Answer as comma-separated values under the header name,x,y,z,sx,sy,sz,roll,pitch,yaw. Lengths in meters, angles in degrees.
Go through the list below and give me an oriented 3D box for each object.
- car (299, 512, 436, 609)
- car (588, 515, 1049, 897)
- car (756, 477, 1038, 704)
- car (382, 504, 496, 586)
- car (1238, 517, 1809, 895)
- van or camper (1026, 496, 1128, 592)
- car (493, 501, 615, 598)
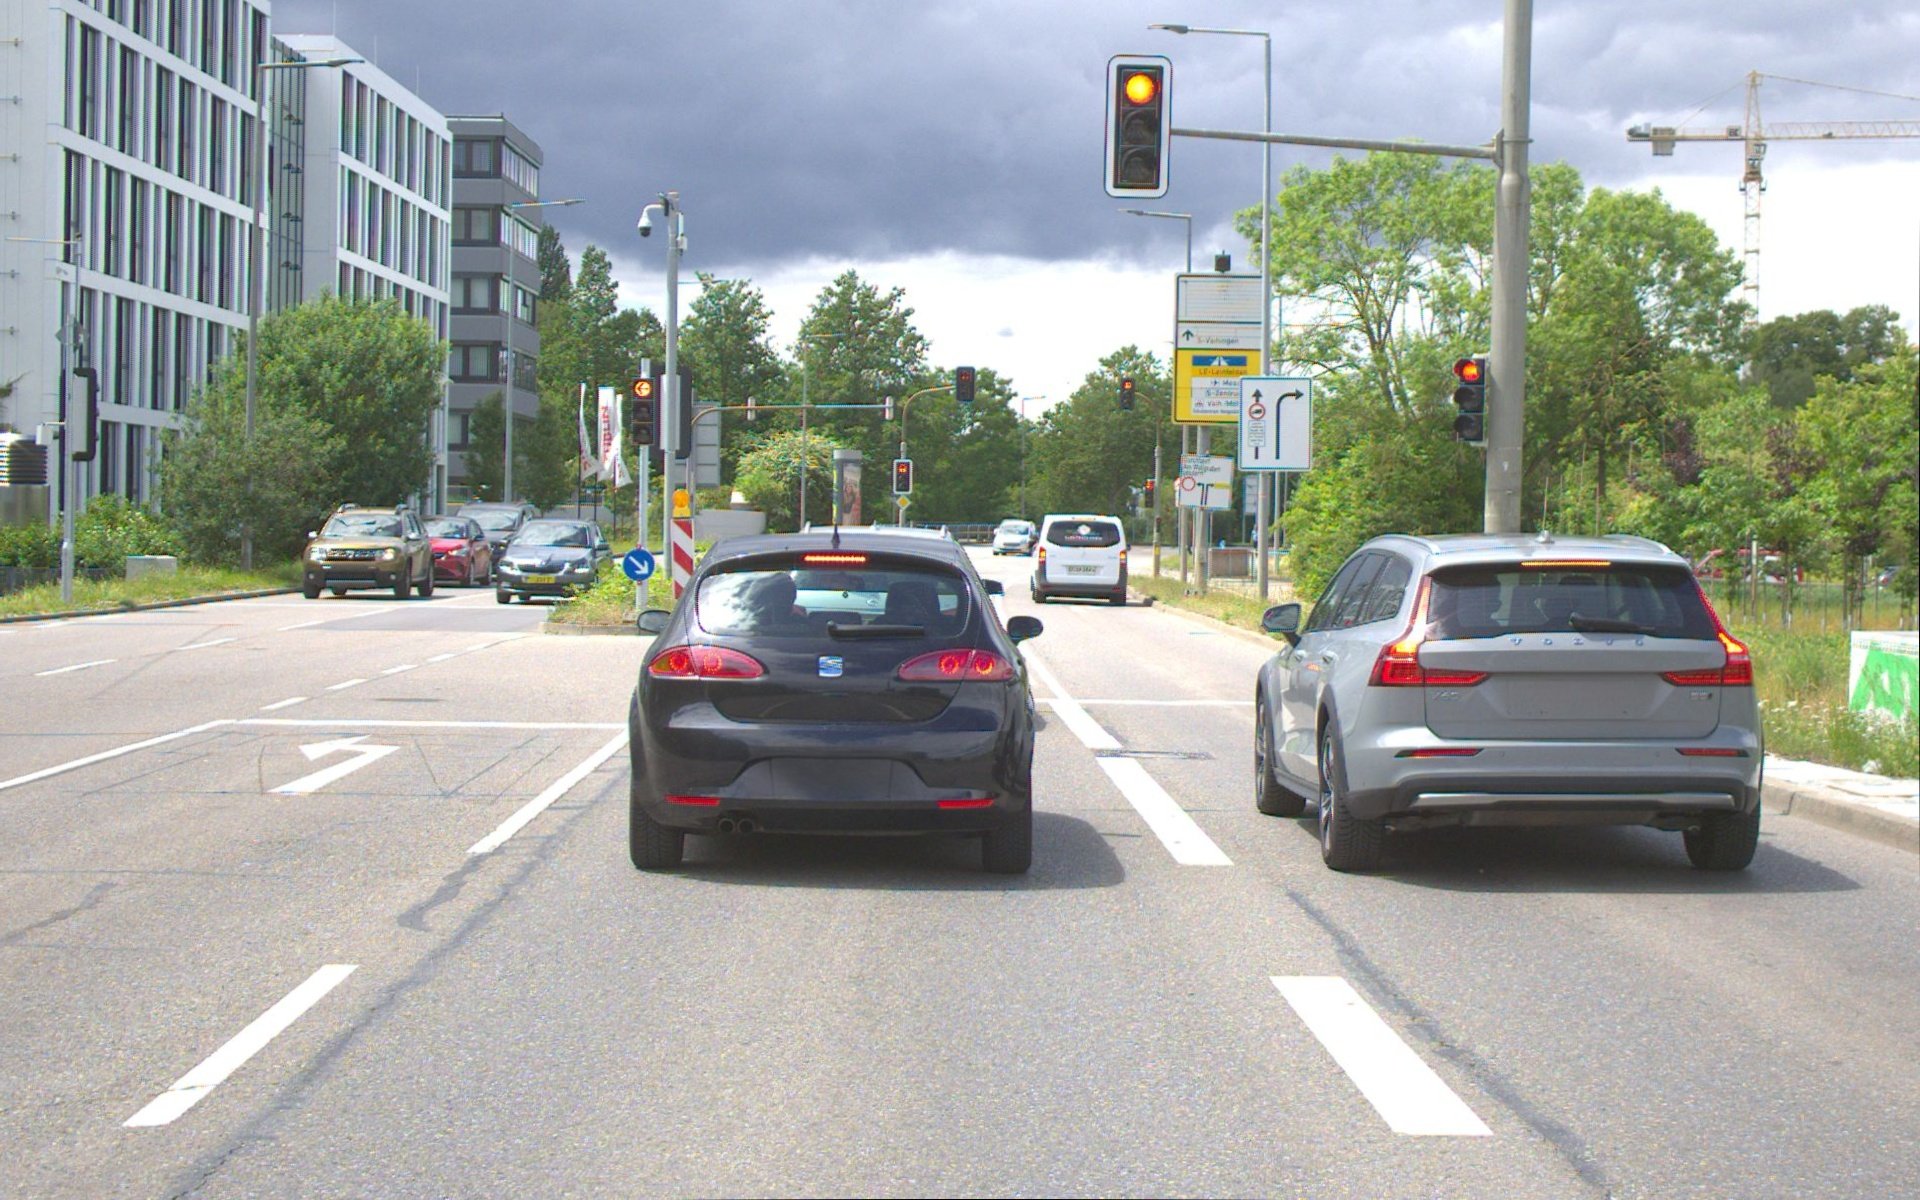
name,x,y,z,sx,sy,sz,roll,pitch,yaw
car,-10.365,-0.713,60.377,1.751,1.625,4.000,-1,1,-1
car,-0.524,0.401,15.894,1.748,1.478,4.000,2,1,2
car,-0.510,-0.119,26.679,1.983,1.585,4.226,1,1,-2
car,-10.632,-1.119,70.404,1.776,1.606,4.000,1,1,-1
car,2.479,0.405,16.208,1.958,1.520,4.340,-1,1,0
van or camper,2.408,-1.167,71.657,1.899,1.919,4.000,1,1,-1
car,-6.947,-0.894,59.162,1.668,1.519,4.009,-1,3,-1
